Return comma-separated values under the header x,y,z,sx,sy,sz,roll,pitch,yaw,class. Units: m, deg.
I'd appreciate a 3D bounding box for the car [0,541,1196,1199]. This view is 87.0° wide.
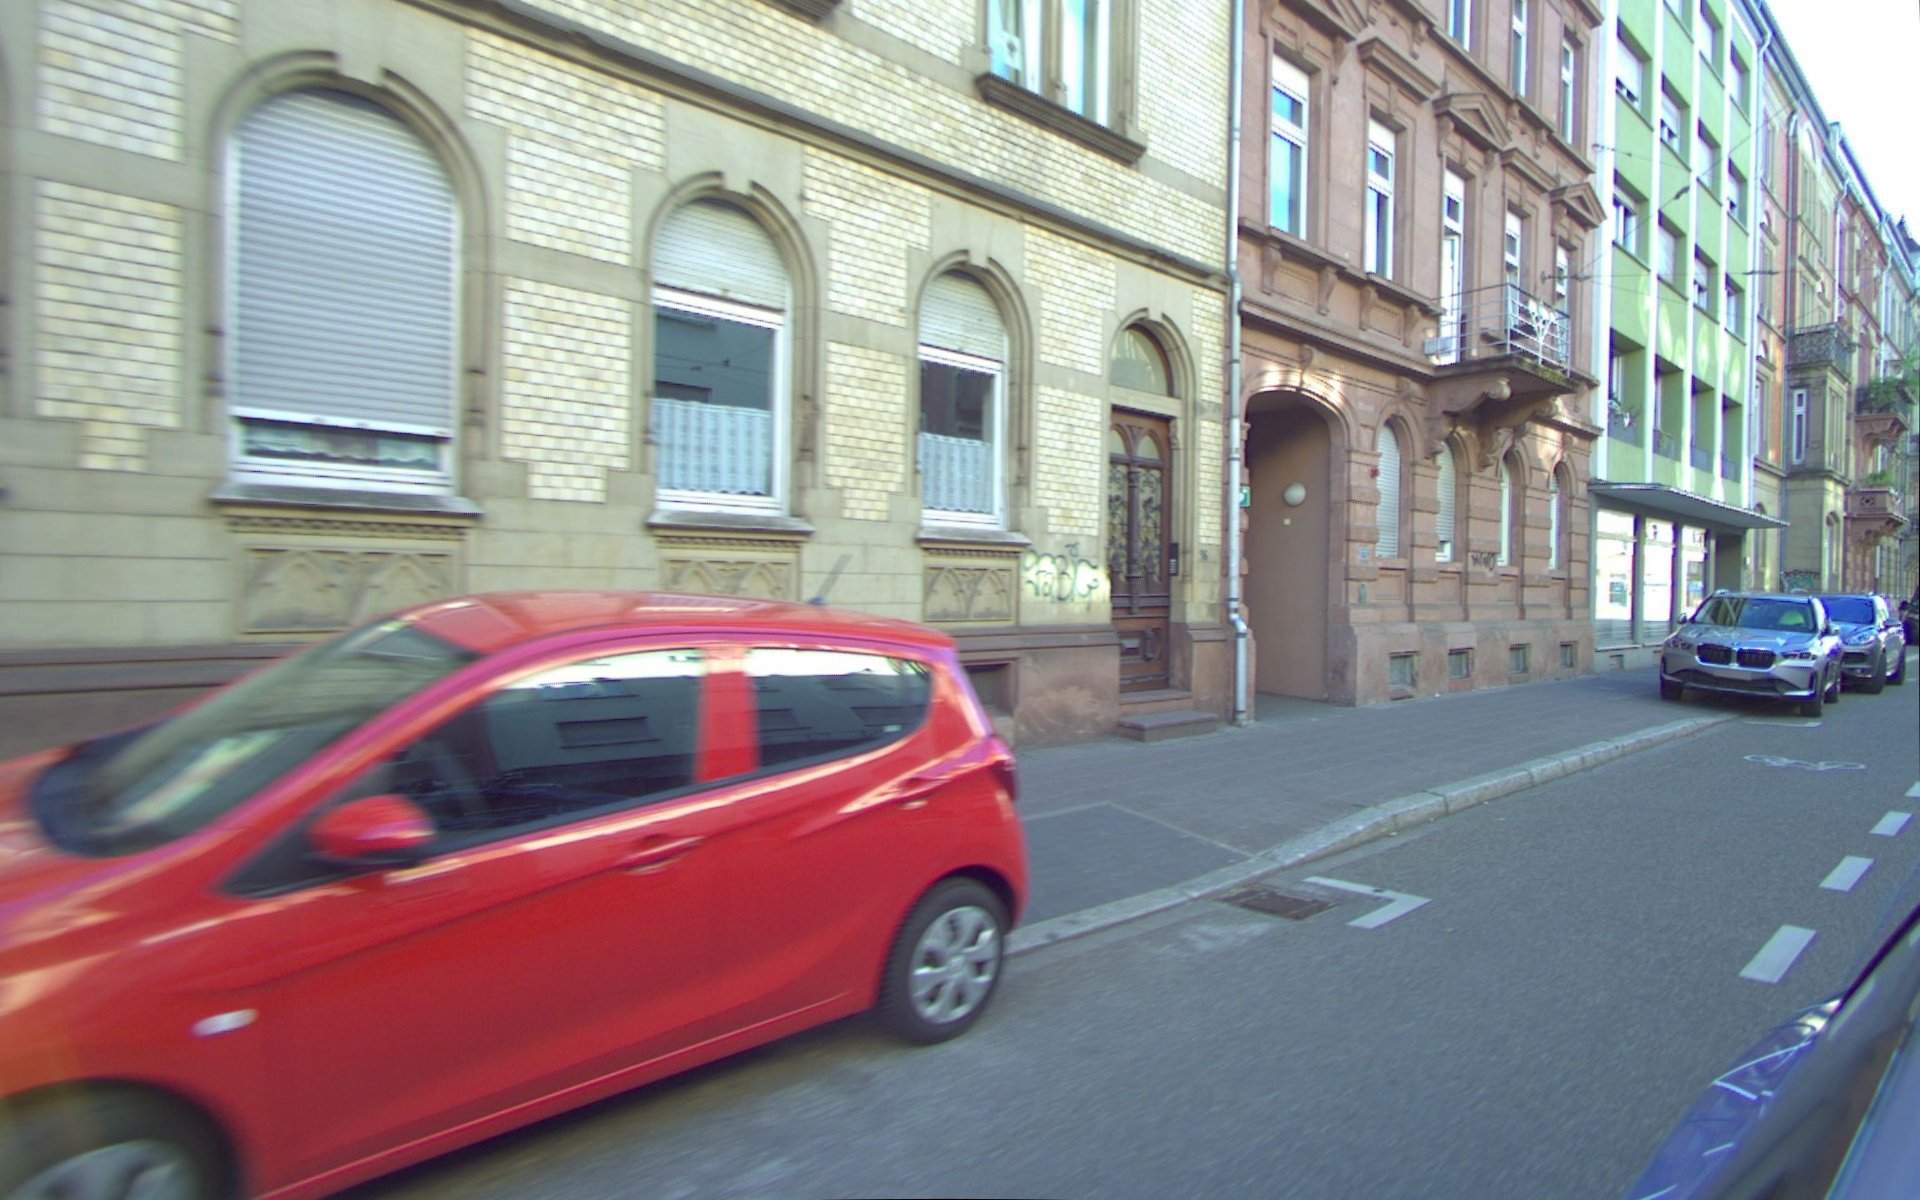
x,y,z,sx,sy,sz,roll,pitch,yaw,class
-1.302,0.624,3.383,4.325,1.500,1.870,-1,4,-42,car

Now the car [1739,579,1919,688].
x,y,z,sx,sy,sz,roll,pitch,yaw,class
16.057,0.501,18.458,4.703,1.635,1.998,-1,5,-42,car

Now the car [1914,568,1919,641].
x,y,z,sx,sy,sz,roll,pitch,yaw,class
36.011,0.145,36.155,5.751,2.524,2.128,-1,1,-39,car

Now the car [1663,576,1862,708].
x,y,z,sx,sy,sz,roll,pitch,yaw,class
11.979,0.500,14.988,1.866,1.667,4.330,1,1,45,car
